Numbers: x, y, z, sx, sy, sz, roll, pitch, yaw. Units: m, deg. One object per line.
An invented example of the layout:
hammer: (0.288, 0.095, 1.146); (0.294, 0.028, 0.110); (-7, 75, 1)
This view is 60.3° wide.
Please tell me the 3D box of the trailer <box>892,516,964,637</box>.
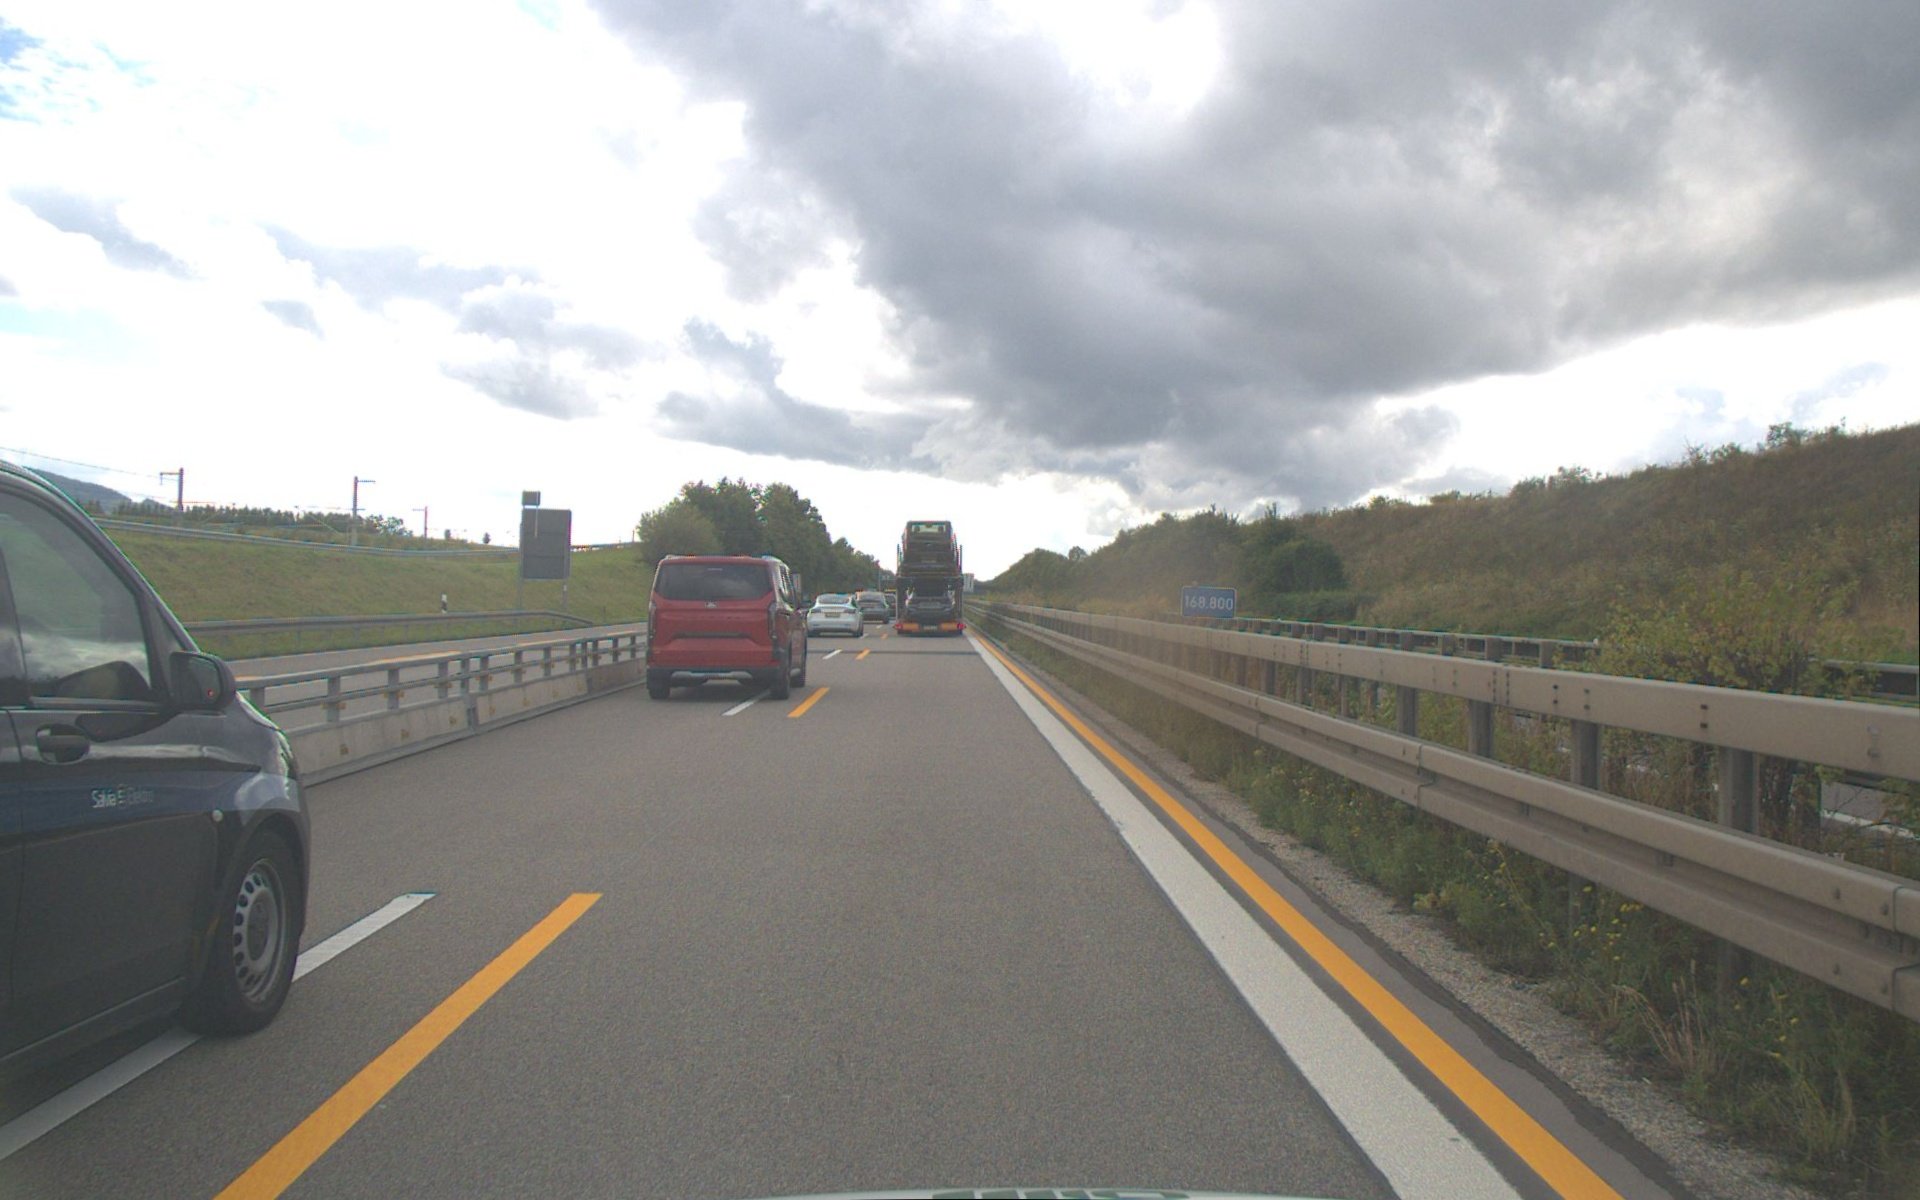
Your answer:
trailer: (-1.137, -0.840, 62.963); (2.464, 4.177, 11.112); (0, 0, 0)

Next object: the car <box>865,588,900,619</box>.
car: (-4.555, 0.199, 98.023); (1.990, 1.788, 4.576); (0, 0, -2)

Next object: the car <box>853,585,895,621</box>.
car: (-4.375, 0.123, 84.583); (1.990, 1.788, 4.576); (0, 0, -2)

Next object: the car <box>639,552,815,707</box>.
car: (-3.301, 0.384, 24.283); (1.990, 2.049, 4.577); (0, 0, -1)

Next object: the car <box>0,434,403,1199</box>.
car: (-3.187, 0.562, 3.835); (1.953, 1.875, 5.608); (0, 0, -1)

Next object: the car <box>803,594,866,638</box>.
car: (-4.366, 0.541, 58.081); (1.990, 1.456, 4.576); (0, 0, -2)

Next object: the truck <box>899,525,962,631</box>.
truck: (-1.160, -0.870, 67.859); (2.464, 4.177, 5.684); (0, 0, 0)
